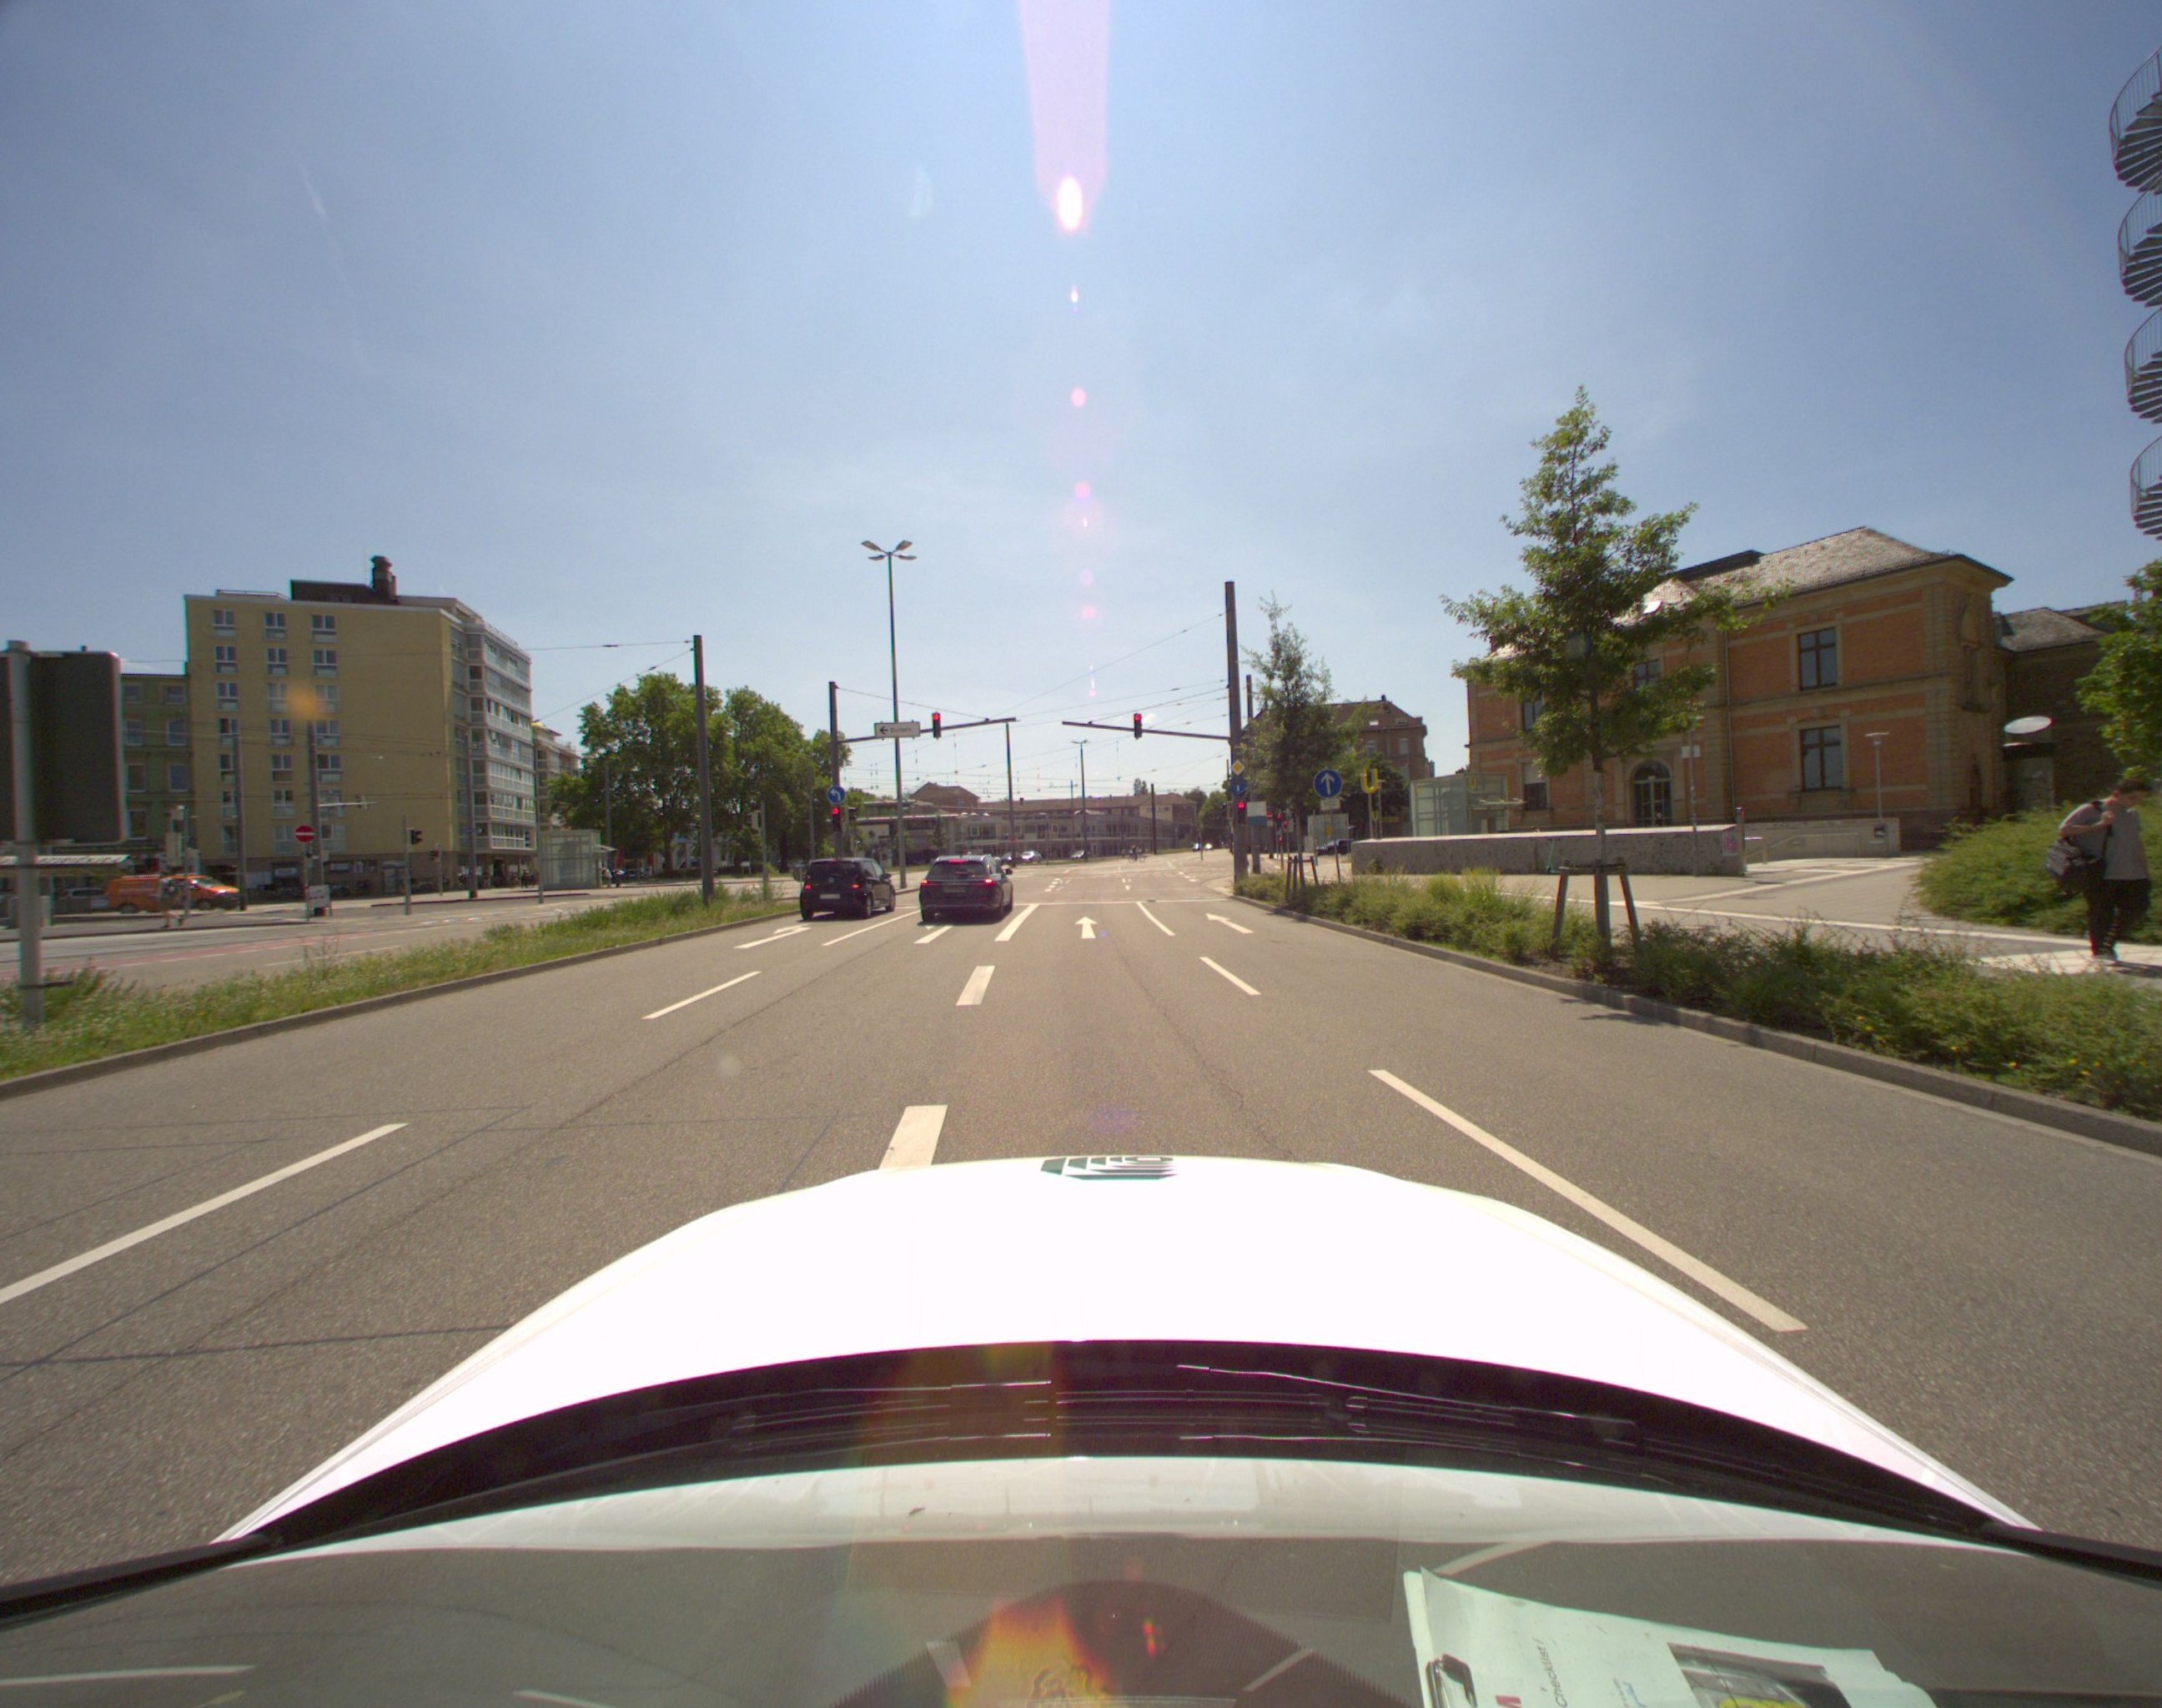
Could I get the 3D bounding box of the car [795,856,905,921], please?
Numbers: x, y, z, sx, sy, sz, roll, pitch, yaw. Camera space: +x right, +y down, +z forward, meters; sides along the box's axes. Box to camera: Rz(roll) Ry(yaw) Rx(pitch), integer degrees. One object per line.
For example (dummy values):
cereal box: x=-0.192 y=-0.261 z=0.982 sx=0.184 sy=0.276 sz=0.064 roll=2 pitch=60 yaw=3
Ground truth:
car: x=-5.808 y=0.801 z=20.941 sx=1.616 sy=1.463 sz=4.000 roll=-2 pitch=0 yaw=0

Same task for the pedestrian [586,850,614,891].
pedestrian: x=-35.931 y=1.213 z=60.808 sx=1.211 sy=2.937 sz=1.335 roll=-1 pitch=2 yaw=-3

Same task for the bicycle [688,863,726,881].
bicycle: x=-31.343 y=1.494 z=68.340 sx=2.772 sy=1.385 sz=0.669 roll=-2 pitch=2 yaw=-8

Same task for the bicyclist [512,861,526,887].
bicyclist: x=-47.956 y=1.702 z=69.538 sx=0.767 sy=2.105 sz=0.743 roll=0 pitch=2 yaw=42

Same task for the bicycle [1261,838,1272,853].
bicycle: x=22.617 y=-1.059 z=99.516 sx=0.610 sy=1.788 sz=3.182 roll=-1 pitch=2 yaw=1

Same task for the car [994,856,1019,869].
car: x=-8.186 y=0.907 z=89.887 sx=1.526 sy=1.277 sz=3.555 roll=-1 pitch=2 yaw=17

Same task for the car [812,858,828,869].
car: x=-38.742 y=1.389 z=120.993 sx=1.508 sy=1.418 sz=3.415 roll=-1 pitch=2 yaw=-6

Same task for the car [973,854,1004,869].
car: x=-9.534 y=0.766 z=84.258 sx=1.607 sy=1.390 sz=4.143 roll=-2 pitch=0 yaw=17

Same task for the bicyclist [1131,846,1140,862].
bicyclist: x=5.424 y=0.000 z=81.036 sx=0.734 sy=1.479 sz=0.652 roll=-2 pitch=2 yaw=-19

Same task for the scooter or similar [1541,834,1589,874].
scooter or similar: x=14.731 y=-0.013 z=24.803 sx=0.398 sy=1.167 sz=1.280 roll=-2 pitch=2 yaw=-22

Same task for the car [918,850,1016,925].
car: x=-2.649 y=0.723 z=19.890 sx=1.711 sy=1.556 sz=4.586 roll=-2 pitch=0 yaw=0

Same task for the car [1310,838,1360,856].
car: x=23.068 y=-0.673 z=73.918 sx=4.114 sy=1.450 sz=1.687 roll=-2 pitch=2 yaw=-19

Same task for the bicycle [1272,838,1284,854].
bicycle: x=24.046 y=-1.014 z=99.442 sx=0.610 sy=1.788 sz=3.182 roll=-1 pitch=2 yaw=1

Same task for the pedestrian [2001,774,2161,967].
pedestrian: x=9.466 y=0.140 z=7.641 sx=0.729 sy=1.706 sz=0.811 roll=-1 pitch=0 yaw=1

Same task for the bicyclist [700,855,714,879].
bicyclist: x=-31.345 y=1.053 z=68.327 sx=0.845 sy=1.965 sz=0.625 roll=-2 pitch=2 yaw=-8

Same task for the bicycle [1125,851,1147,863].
bicycle: x=5.511 y=0.321 z=81.064 sx=2.166 sy=1.107 sz=0.454 roll=-2 pitch=2 yaw=-18

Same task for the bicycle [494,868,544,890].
bicycle: x=-47.968 y=2.112 z=69.532 sx=0.809 sy=1.595 sz=3.344 roll=0 pitch=4 yaw=43

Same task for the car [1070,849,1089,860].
car: x=-0.207 y=0.036 z=113.236 sx=1.558 sy=1.427 sz=3.630 roll=-1 pitch=2 yaw=17

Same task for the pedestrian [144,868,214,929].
pedestrian: x=-30.001 y=1.470 z=27.097 sx=1.178 sy=1.933 sz=0.900 roll=-2 pitch=2 yaw=-7

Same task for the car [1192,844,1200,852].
car: x=23.483 y=-1.211 z=166.252 sx=1.522 sy=1.458 sz=3.561 roll=-1 pitch=2 yaw=8

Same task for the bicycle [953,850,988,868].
bicycle: x=-9.331 y=0.411 z=68.640 sx=2.818 sy=1.463 sz=0.633 roll=-1 pitch=2 yaw=-2

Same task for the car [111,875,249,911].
car: x=-47.461 y=2.028 z=43.009 sx=4.631 sy=1.613 sz=1.667 roll=-2 pitch=2 yaw=-15

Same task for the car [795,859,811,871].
car: x=-41.156 y=1.605 z=120.724 sx=1.423 sy=1.508 sz=3.432 roll=-2 pitch=2 yaw=-5

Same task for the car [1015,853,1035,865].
car: x=-6.546 y=0.611 z=95.787 sx=1.422 sy=1.285 sz=3.273 roll=-1 pitch=2 yaw=13

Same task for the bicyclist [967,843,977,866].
bicyclist: x=-9.172 y=0.036 z=68.657 sx=0.761 sy=1.937 sz=0.660 roll=-1 pitch=2 yaw=-2
